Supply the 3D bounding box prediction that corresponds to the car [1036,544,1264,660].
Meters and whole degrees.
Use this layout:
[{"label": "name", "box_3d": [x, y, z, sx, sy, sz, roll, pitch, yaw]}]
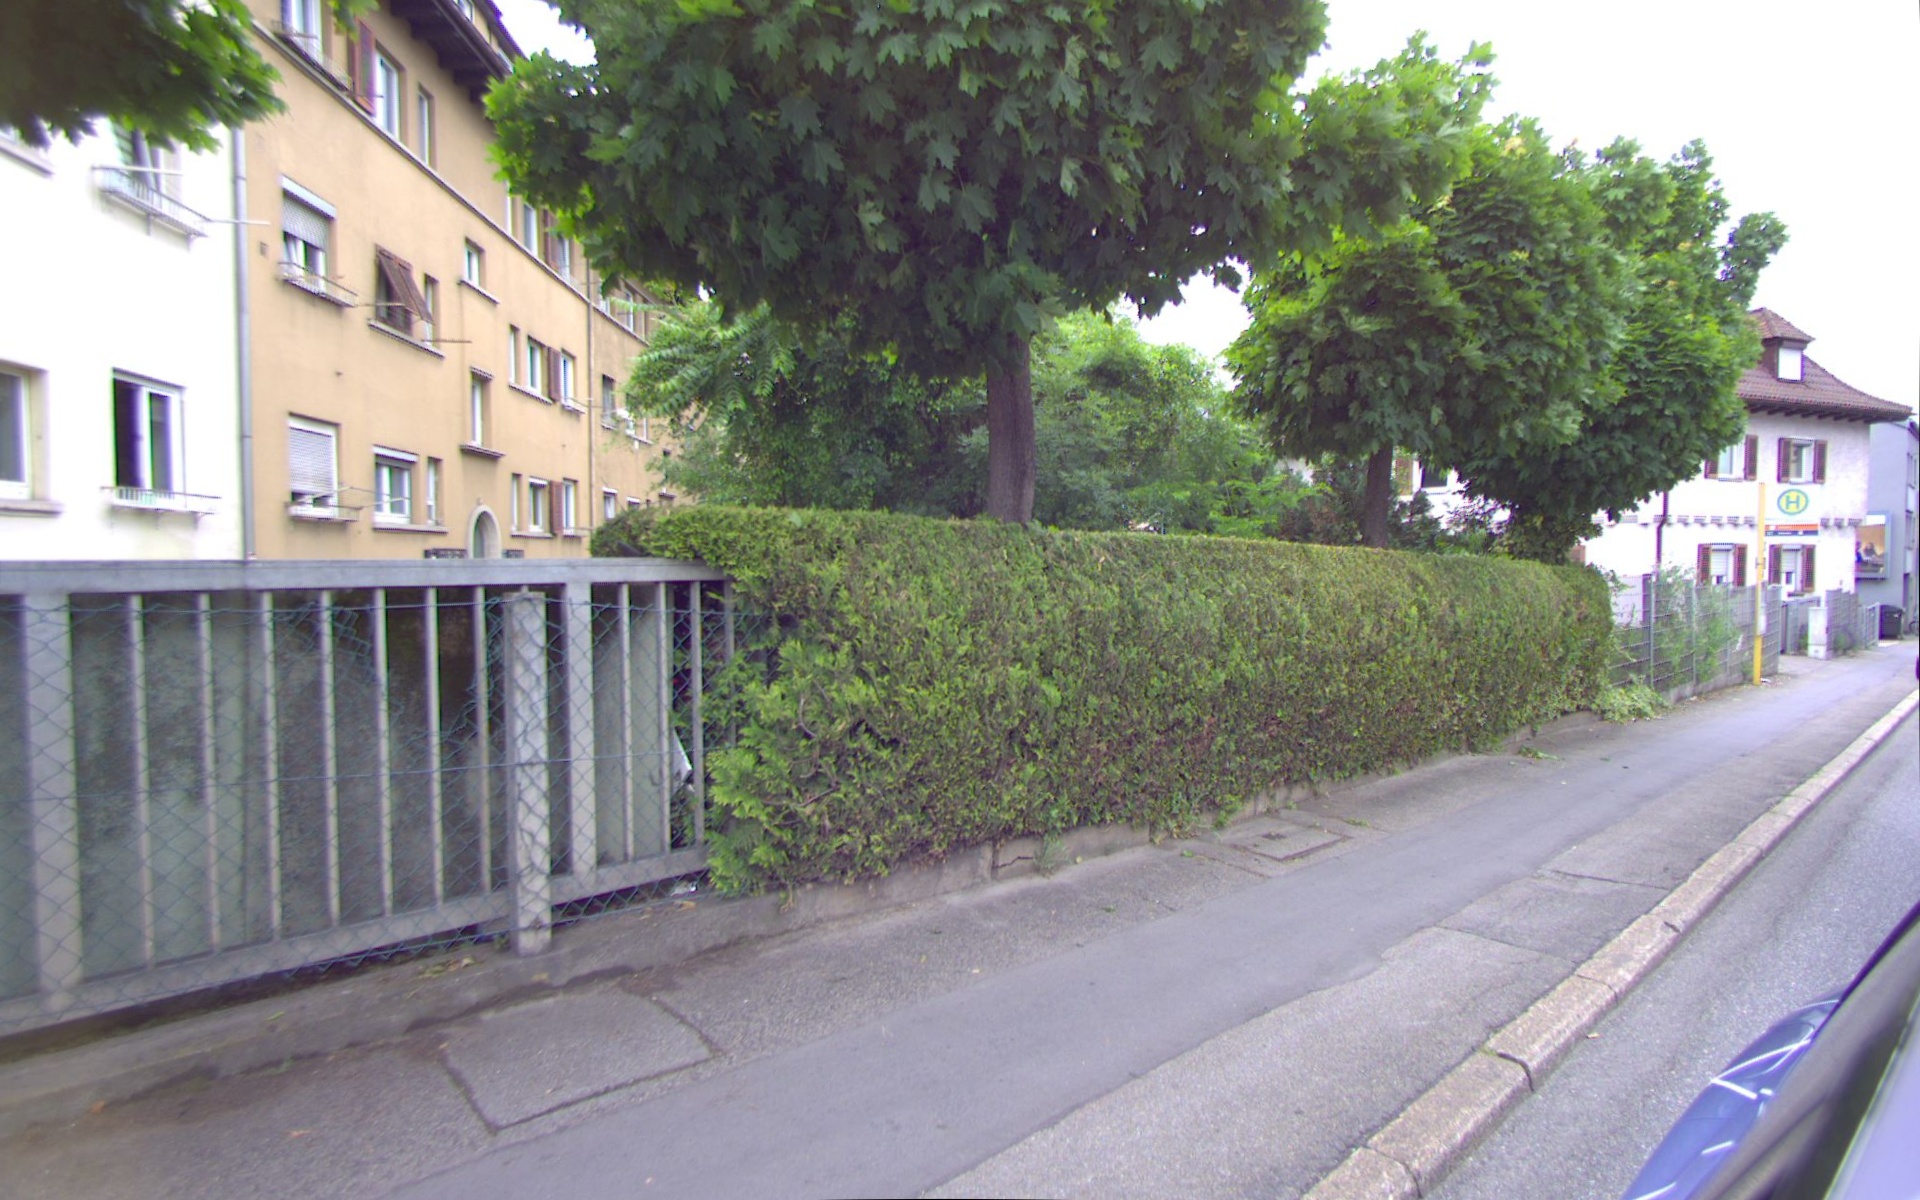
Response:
[{"label": "car", "box_3d": [3.538, 0.019, 19.431, 3.923, 2.039, 2.001, 1, 1, -1]}]
